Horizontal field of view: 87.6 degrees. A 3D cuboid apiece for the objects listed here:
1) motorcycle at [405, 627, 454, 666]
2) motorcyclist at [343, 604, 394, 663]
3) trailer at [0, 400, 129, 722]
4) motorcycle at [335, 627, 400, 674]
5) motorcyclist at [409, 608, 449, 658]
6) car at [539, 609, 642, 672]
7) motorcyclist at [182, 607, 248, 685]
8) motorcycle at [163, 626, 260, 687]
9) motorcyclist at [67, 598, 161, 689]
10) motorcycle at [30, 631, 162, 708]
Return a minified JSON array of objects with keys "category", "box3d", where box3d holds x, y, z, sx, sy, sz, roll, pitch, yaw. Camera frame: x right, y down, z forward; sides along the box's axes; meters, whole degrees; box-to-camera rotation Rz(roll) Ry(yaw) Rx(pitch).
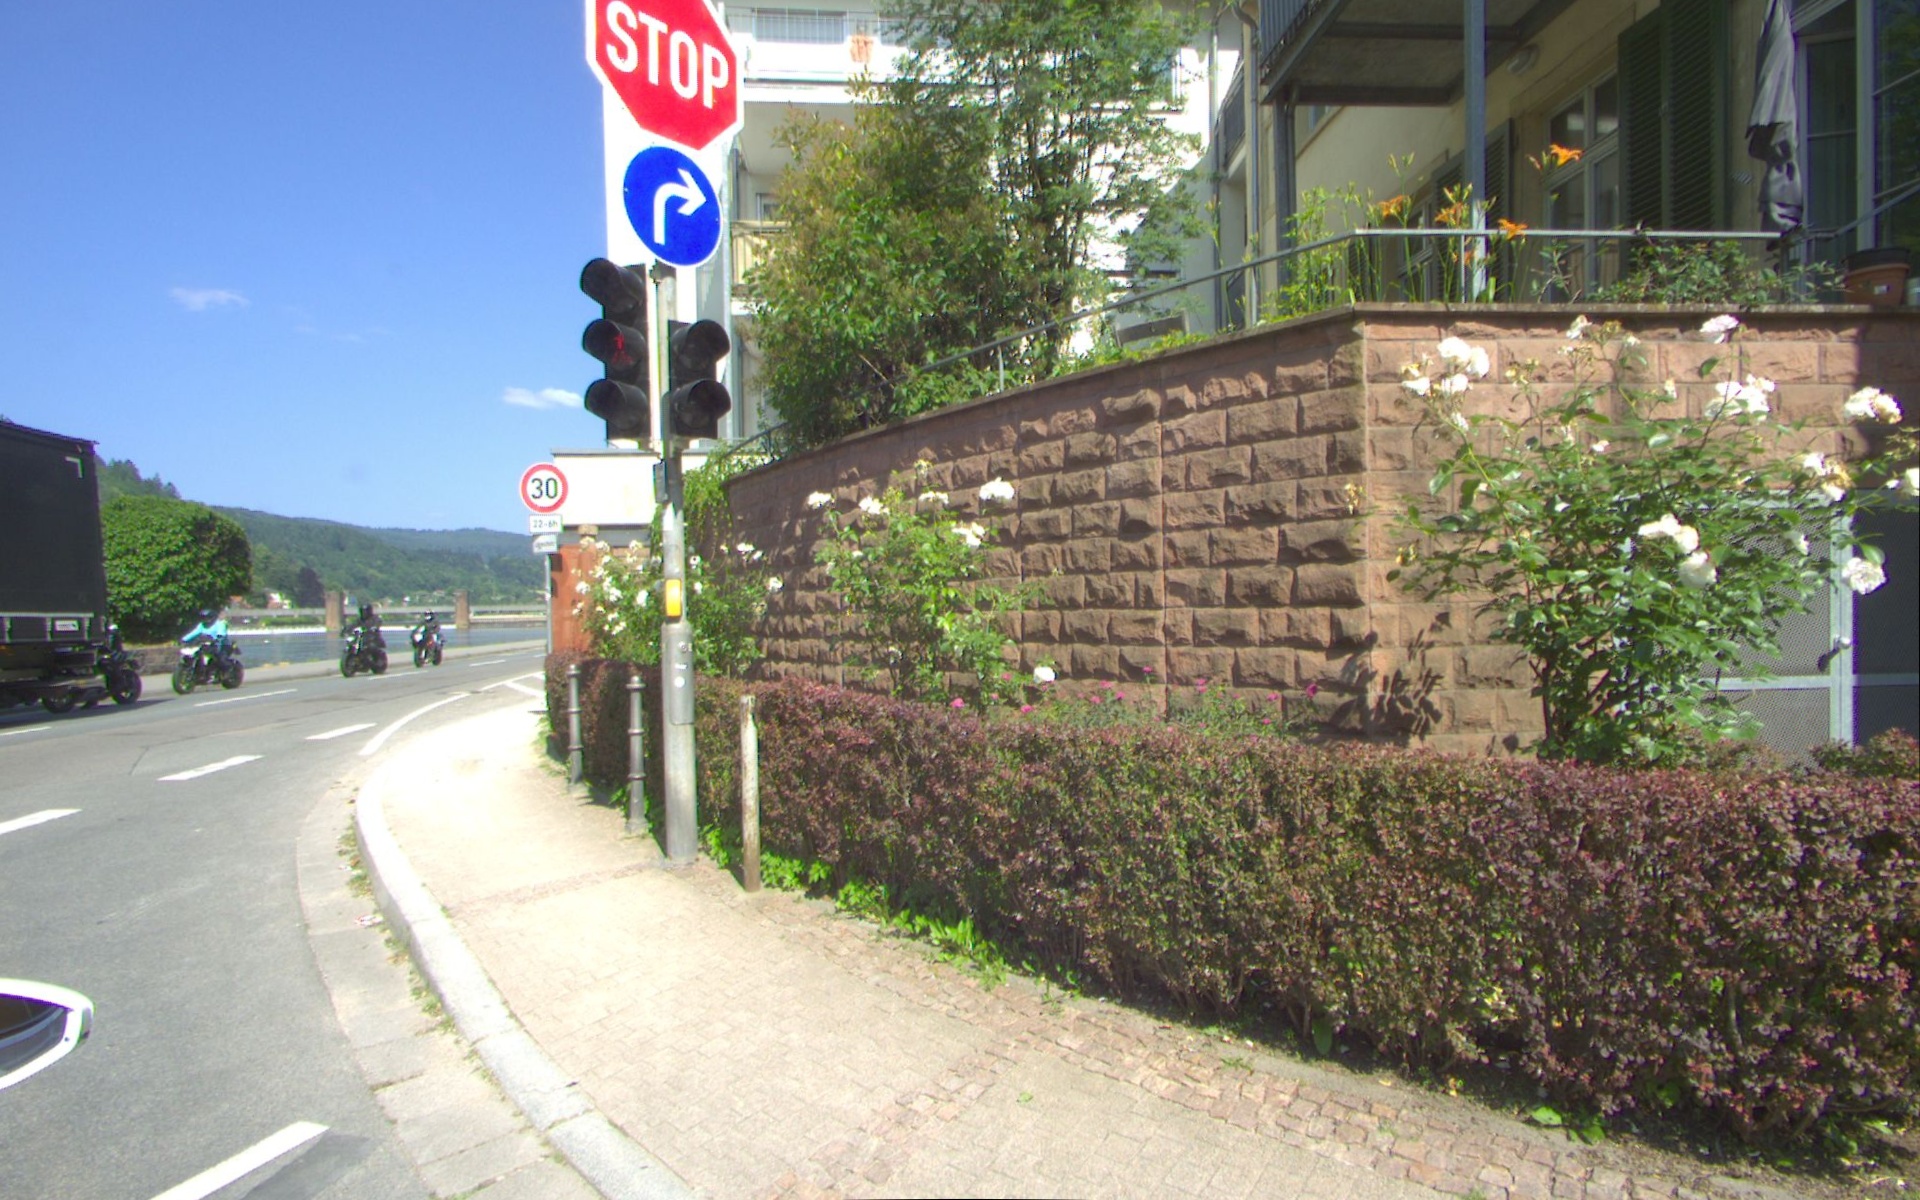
[{"category":"motorcycle","box3d":[-15.327,1.327,28.977,0.646,1.038,1.814,-1,0,-8]},{"category":"motorcyclist","box3d":[-14.190,0.795,24.046,0.774,1.384,0.800,-1,0,-8]},{"category":"trailer","box3d":[-13.132,-0.485,8.046,2.788,4.158,13.766,-3,0,-7]},{"category":"motorcycle","box3d":[-14.143,1.178,23.943,0.646,1.038,1.814,-1,0,-8]},{"category":"motorcyclist","box3d":[-15.275,0.944,28.837,0.706,1.384,0.936,-1,0,-8]},{"category":"car","box3d":[-8.927,0.925,24.484,1.661,1.417,3.737,0,-1,-9]},{"category":"motorcyclist","box3d":[-15.450,0.930,20.796,0.653,1.545,0.991,-3,1,-9]},{"category":"motorcycle","box3d":[-15.438,1.136,20.718,0.623,1.138,2.092,-3,0,-8]},{"category":"motorcyclist","box3d":[-14.614,0.734,17.321,0.766,1.479,0.991,-3,0,-8]},{"category":"motorcycle","box3d":[-14.621,1.141,17.027,0.623,1.138,2.092,-3,0,-8]}]
